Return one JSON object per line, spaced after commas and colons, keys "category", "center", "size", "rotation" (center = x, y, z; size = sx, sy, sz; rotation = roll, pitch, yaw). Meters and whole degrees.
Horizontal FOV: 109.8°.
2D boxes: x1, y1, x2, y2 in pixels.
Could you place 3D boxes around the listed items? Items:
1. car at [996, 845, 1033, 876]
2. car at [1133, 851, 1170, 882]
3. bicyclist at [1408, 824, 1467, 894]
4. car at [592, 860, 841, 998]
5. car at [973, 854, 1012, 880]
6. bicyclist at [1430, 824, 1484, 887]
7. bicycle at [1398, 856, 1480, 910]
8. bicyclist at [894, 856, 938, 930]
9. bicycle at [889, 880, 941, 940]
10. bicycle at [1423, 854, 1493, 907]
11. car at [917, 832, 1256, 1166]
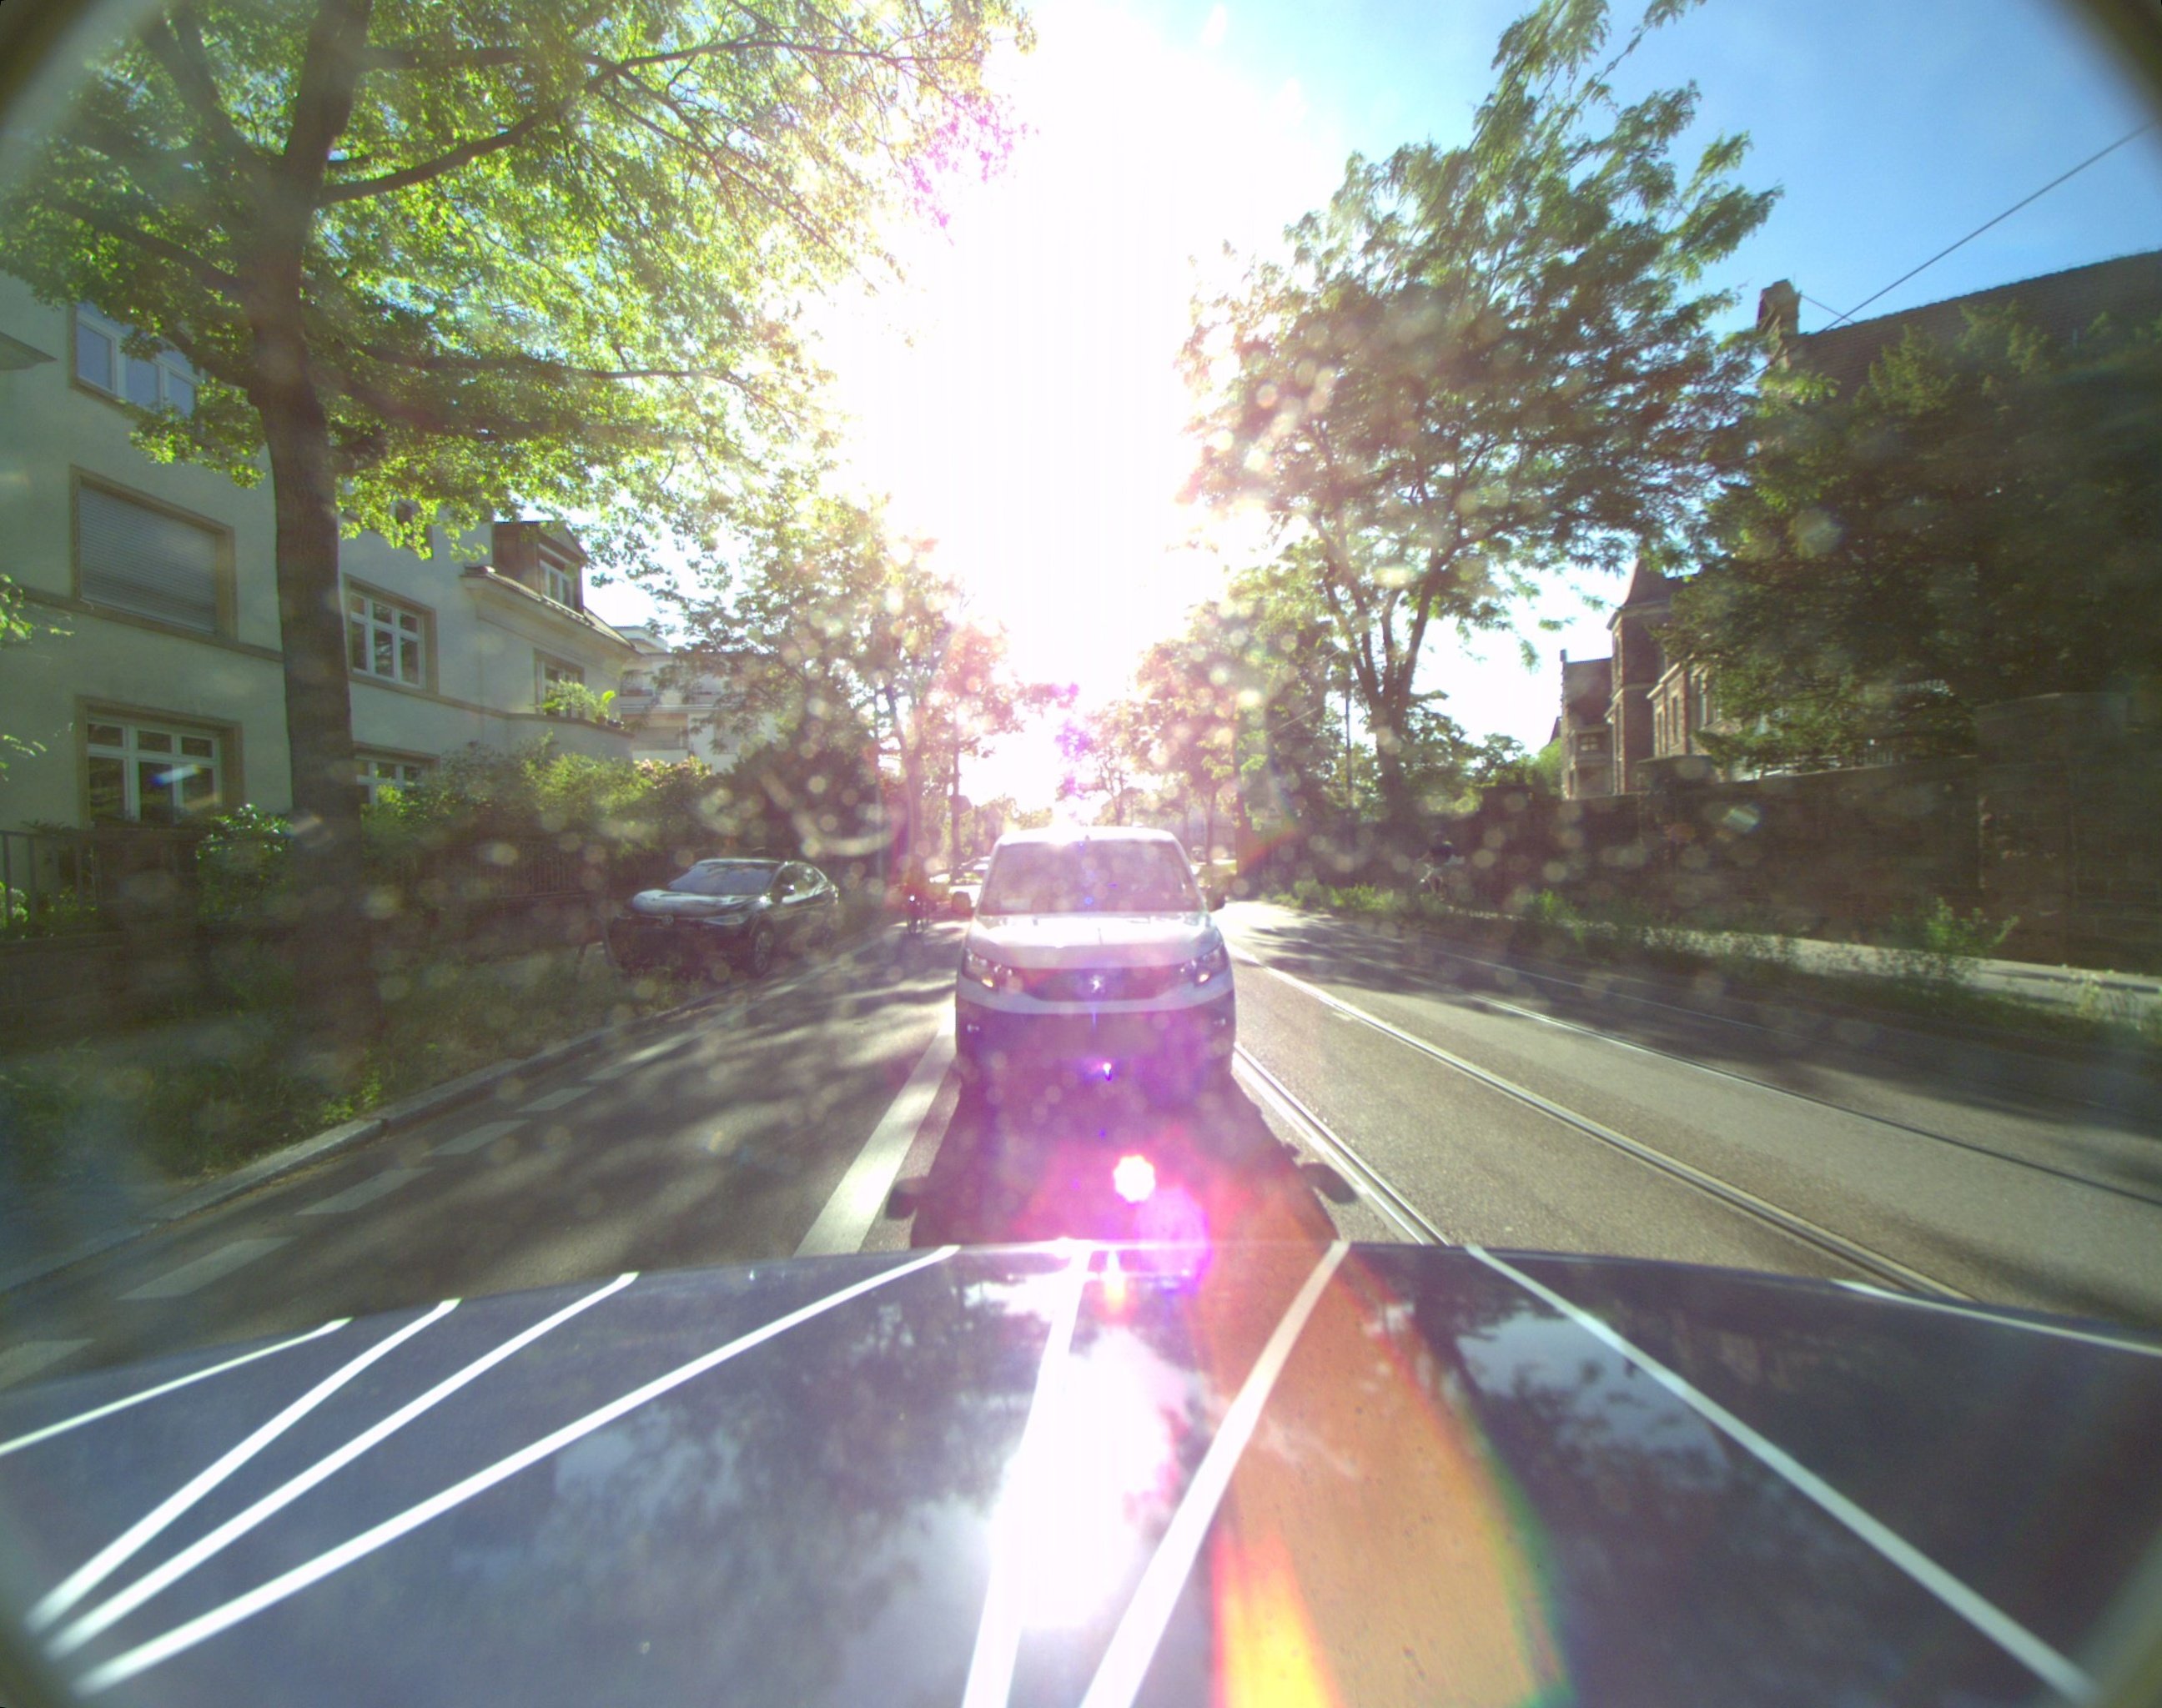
{"category": "car", "center": [-4.495, 0.428, 51.912], "size": [1.998, 2.002, 4.583], "rotation": [-2, 0, 1]}
{"category": "car", "center": [3.855, 0.651, 42.183], "size": [1.822, 1.597, 4.360], "rotation": [-2, 0, 2]}
{"category": "bicyclist", "center": [7.766, 0.105, 16.595], "size": [0.655, 1.451, 1.151], "rotation": [-2, 1, -3]}
{"category": "car", "center": [-5.148, 0.943, 11.430], "size": [1.743, 1.597, 4.091], "rotation": [2, 0, 0]}
{"category": "car", "center": [-5.247, 0.750, 45.447], "size": [1.787, 1.443, 4.000], "rotation": [-2, 0, 1]}
{"category": "bicyclist", "center": [9.013, 0.043, 18.252], "size": [0.654, 1.451, 1.151], "rotation": [-2, 1, -3]}
{"category": "bicycle", "center": [7.773, 0.603, 16.605], "size": [0.686, 1.082, 2.063], "rotation": [-2, 0, -4]}
{"category": "bicyclist", "center": [-3.480, 0.798, 16.074], "size": [0.623, 1.479, 1.115], "rotation": [-2, 0, 1]}
{"category": "bicycle", "center": [-3.480, 1.146, 16.065], "size": [0.644, 1.137, 1.815], "rotation": [-1, 0, 1]}
{"category": "bicycle", "center": [9.033, 0.608, 18.294], "size": [0.686, 1.083, 1.853], "rotation": [-1, 3, -3]}
{"category": "car", "center": [0.048, 0.783, 6.518], "size": [1.793, 1.770, 4.786], "rotation": [-2, 0, 0]}
